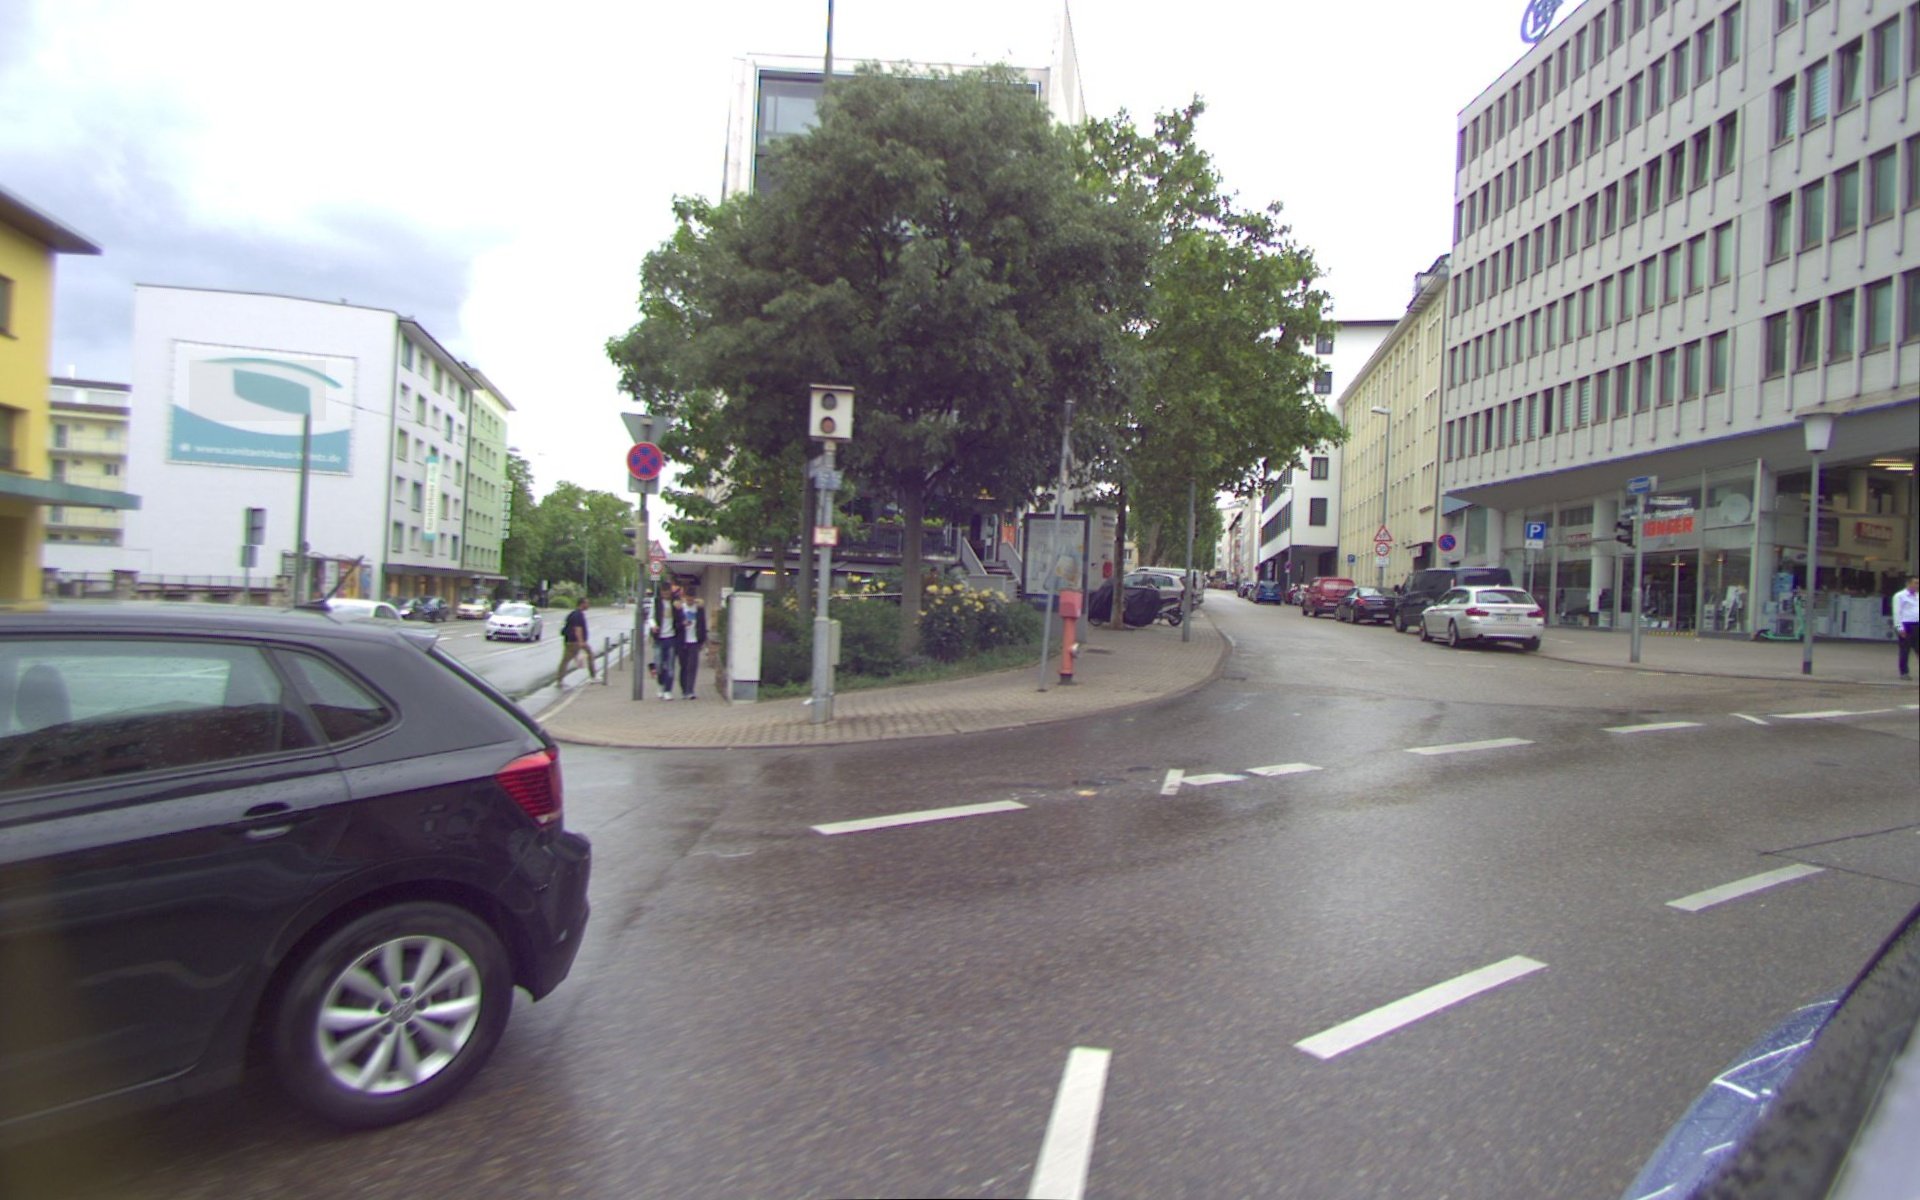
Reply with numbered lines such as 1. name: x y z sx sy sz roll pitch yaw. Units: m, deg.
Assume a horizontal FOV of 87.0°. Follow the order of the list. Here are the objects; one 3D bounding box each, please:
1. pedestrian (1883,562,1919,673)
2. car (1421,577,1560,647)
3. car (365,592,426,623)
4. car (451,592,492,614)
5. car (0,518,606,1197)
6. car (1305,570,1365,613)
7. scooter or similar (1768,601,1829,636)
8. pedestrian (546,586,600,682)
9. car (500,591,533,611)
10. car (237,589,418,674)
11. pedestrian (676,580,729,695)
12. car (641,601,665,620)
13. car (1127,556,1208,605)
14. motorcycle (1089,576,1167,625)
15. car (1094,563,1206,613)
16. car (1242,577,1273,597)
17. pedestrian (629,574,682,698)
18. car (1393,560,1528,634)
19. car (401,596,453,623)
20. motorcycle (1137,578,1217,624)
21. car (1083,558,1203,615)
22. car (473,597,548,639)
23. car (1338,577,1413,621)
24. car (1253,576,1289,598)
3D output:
1. pedestrian: 16.378 0.292 17.243 0.814 1.839 0.724 -2 4 -34
2. car: 12.831 0.215 24.819 1.829 1.513 4.833 0 2 13
3. car: -30.468 0.385 54.753 1.791 1.431 4.210 5 -1 -15
4. car: -35.625 0.205 73.859 1.791 1.431 4.210 5 -1 -15
5. car: -3.135 0.555 2.475 3.929 1.496 1.691 2 -2 -41
6. car: 16.734 -0.428 45.320 1.857 1.786 3.989 0 2 11
7. scooter or similar: 20.754 0.463 25.061 1.110 0.834 0.306 1 1 15
8. pedestrian: -7.631 0.663 19.959 0.873 1.851 0.827 1 -2 -28
9. car: -36.534 0.044 83.398 1.791 1.431 4.210 5 -1 -15
10. car: -12.828 0.581 20.863 1.791 1.431 4.209 5 -1 -13
11. pedestrian: -3.989 0.571 15.660 0.665 1.698 0.716 -4 -1 -17
12. car: -26.708 0.920 88.198 1.791 1.431 4.210 5 -1 -15
13. car: 10.763 -1.034 52.505 3.812 2.429 1.886 1 2 27
14. motorcycle: 4.476 0.006 26.990 1.915 1.130 0.626 5 2 17
15. car: 7.162 -0.483 38.229 3.806 1.572 1.613 5 4 26
16. car: 24.174 -1.075 82.264 1.968 1.513 3.989 0 2 11
17. pedestrian: -4.759 0.555 15.831 0.665 1.850 0.716 -4 -1 -16
18. car: 14.740 -0.158 30.168 1.926 2.022 4.802 0 2 5
19. car: -32.605 0.552 61.998 1.791 1.431 4.210 5 -1 -15
20. motorcycle: 6.180 0.011 28.830 2.073 1.130 0.623 6 3 28
21. car: 6.458 -0.487 35.628 3.887 1.655 1.618 5 2 19
22. car: -17.800 0.677 40.288 1.791 1.440 4.209 5 -1 -12
23. car: 15.790 -0.075 38.643 1.813 1.513 4.124 0 2 11
24. car: 22.015 -0.950 71.671 1.968 1.513 3.989 0 2 11
